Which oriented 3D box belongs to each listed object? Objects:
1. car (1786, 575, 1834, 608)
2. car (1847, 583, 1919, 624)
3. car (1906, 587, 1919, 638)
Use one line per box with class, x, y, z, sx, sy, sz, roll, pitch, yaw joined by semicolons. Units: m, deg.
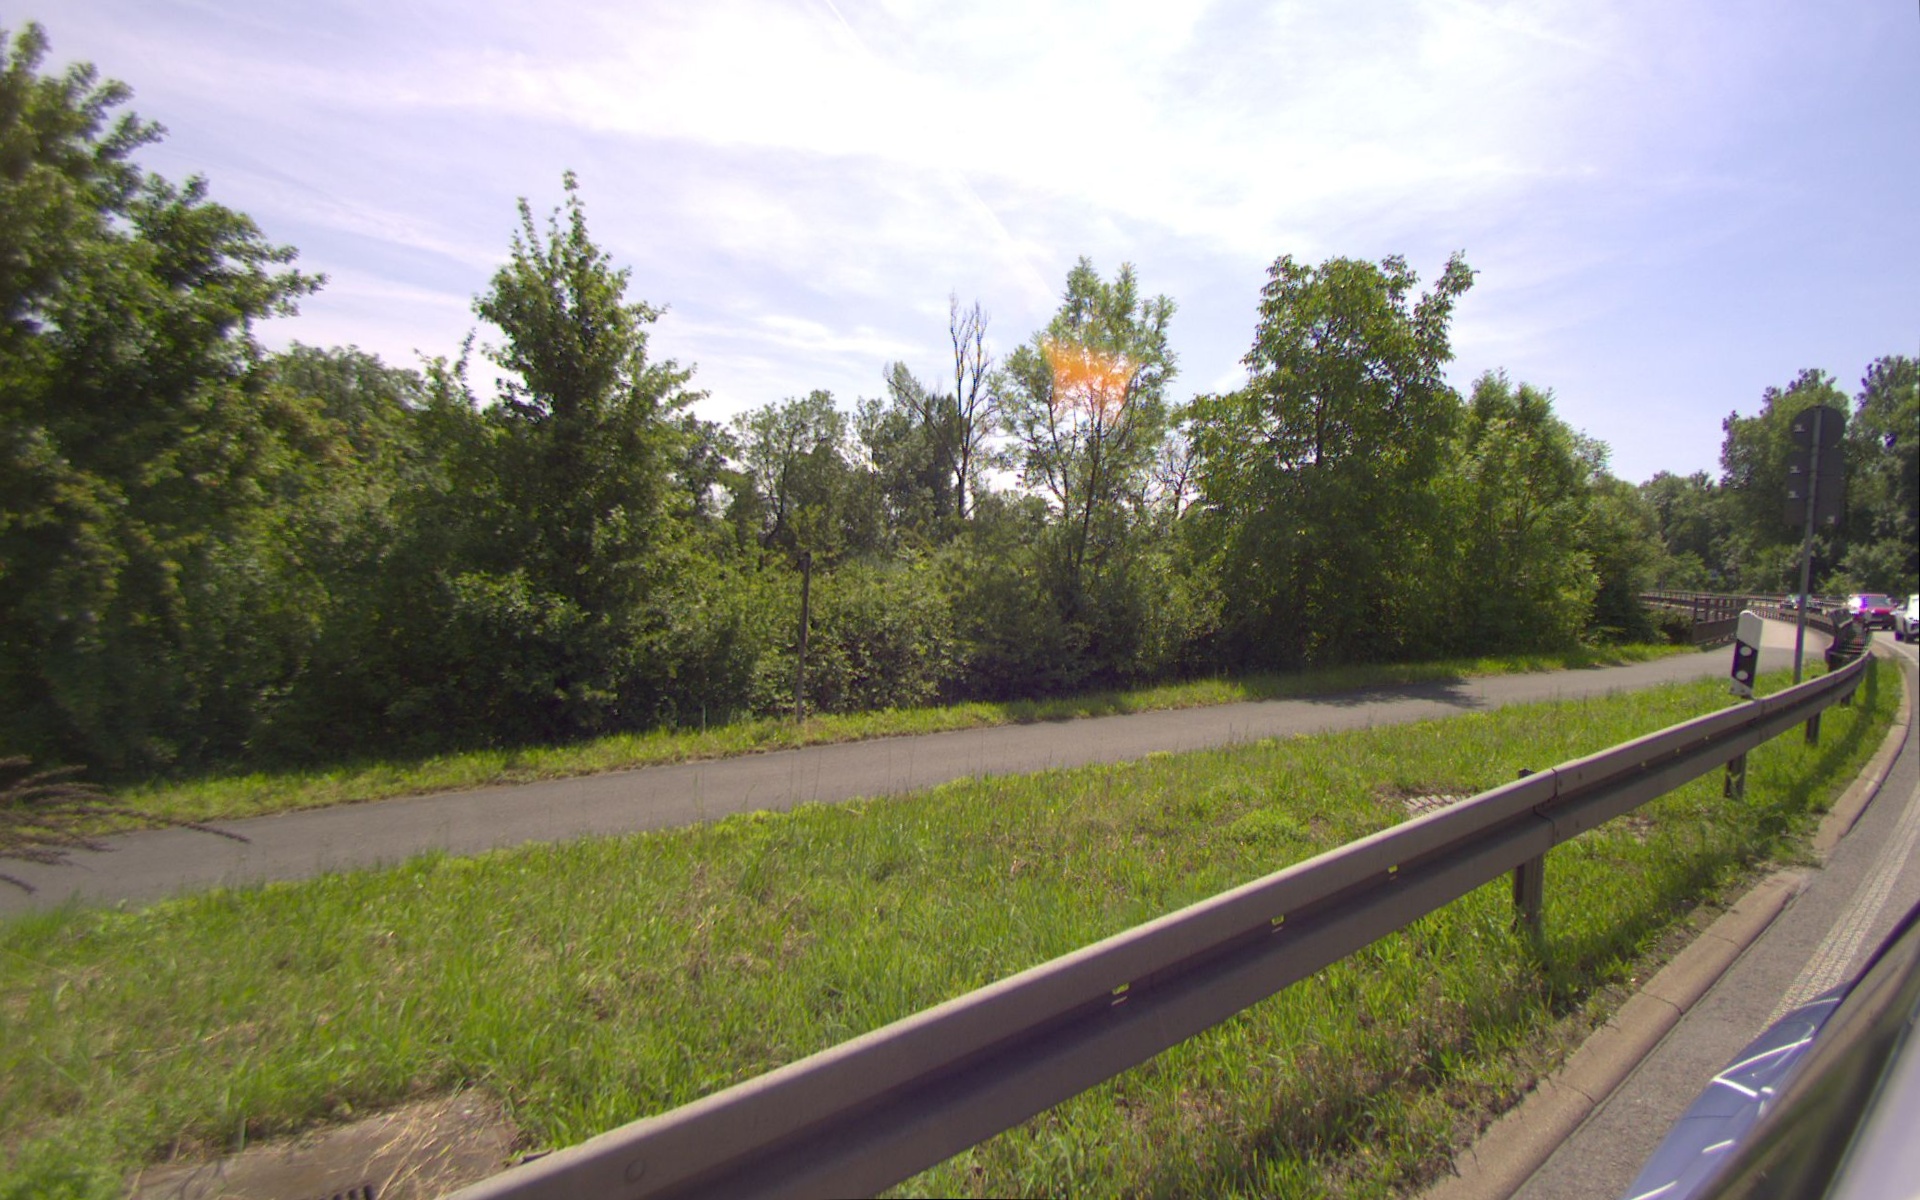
car;56.221;-0.587;66.982;1.986;2.039;3.952;-1;1;34
car;42.228;0.187;46.376;1.988;1.798;3.947;-1;-1;36
car;33.432;0.401;34.111;1.900;1.668;3.895;-1;-1;38
